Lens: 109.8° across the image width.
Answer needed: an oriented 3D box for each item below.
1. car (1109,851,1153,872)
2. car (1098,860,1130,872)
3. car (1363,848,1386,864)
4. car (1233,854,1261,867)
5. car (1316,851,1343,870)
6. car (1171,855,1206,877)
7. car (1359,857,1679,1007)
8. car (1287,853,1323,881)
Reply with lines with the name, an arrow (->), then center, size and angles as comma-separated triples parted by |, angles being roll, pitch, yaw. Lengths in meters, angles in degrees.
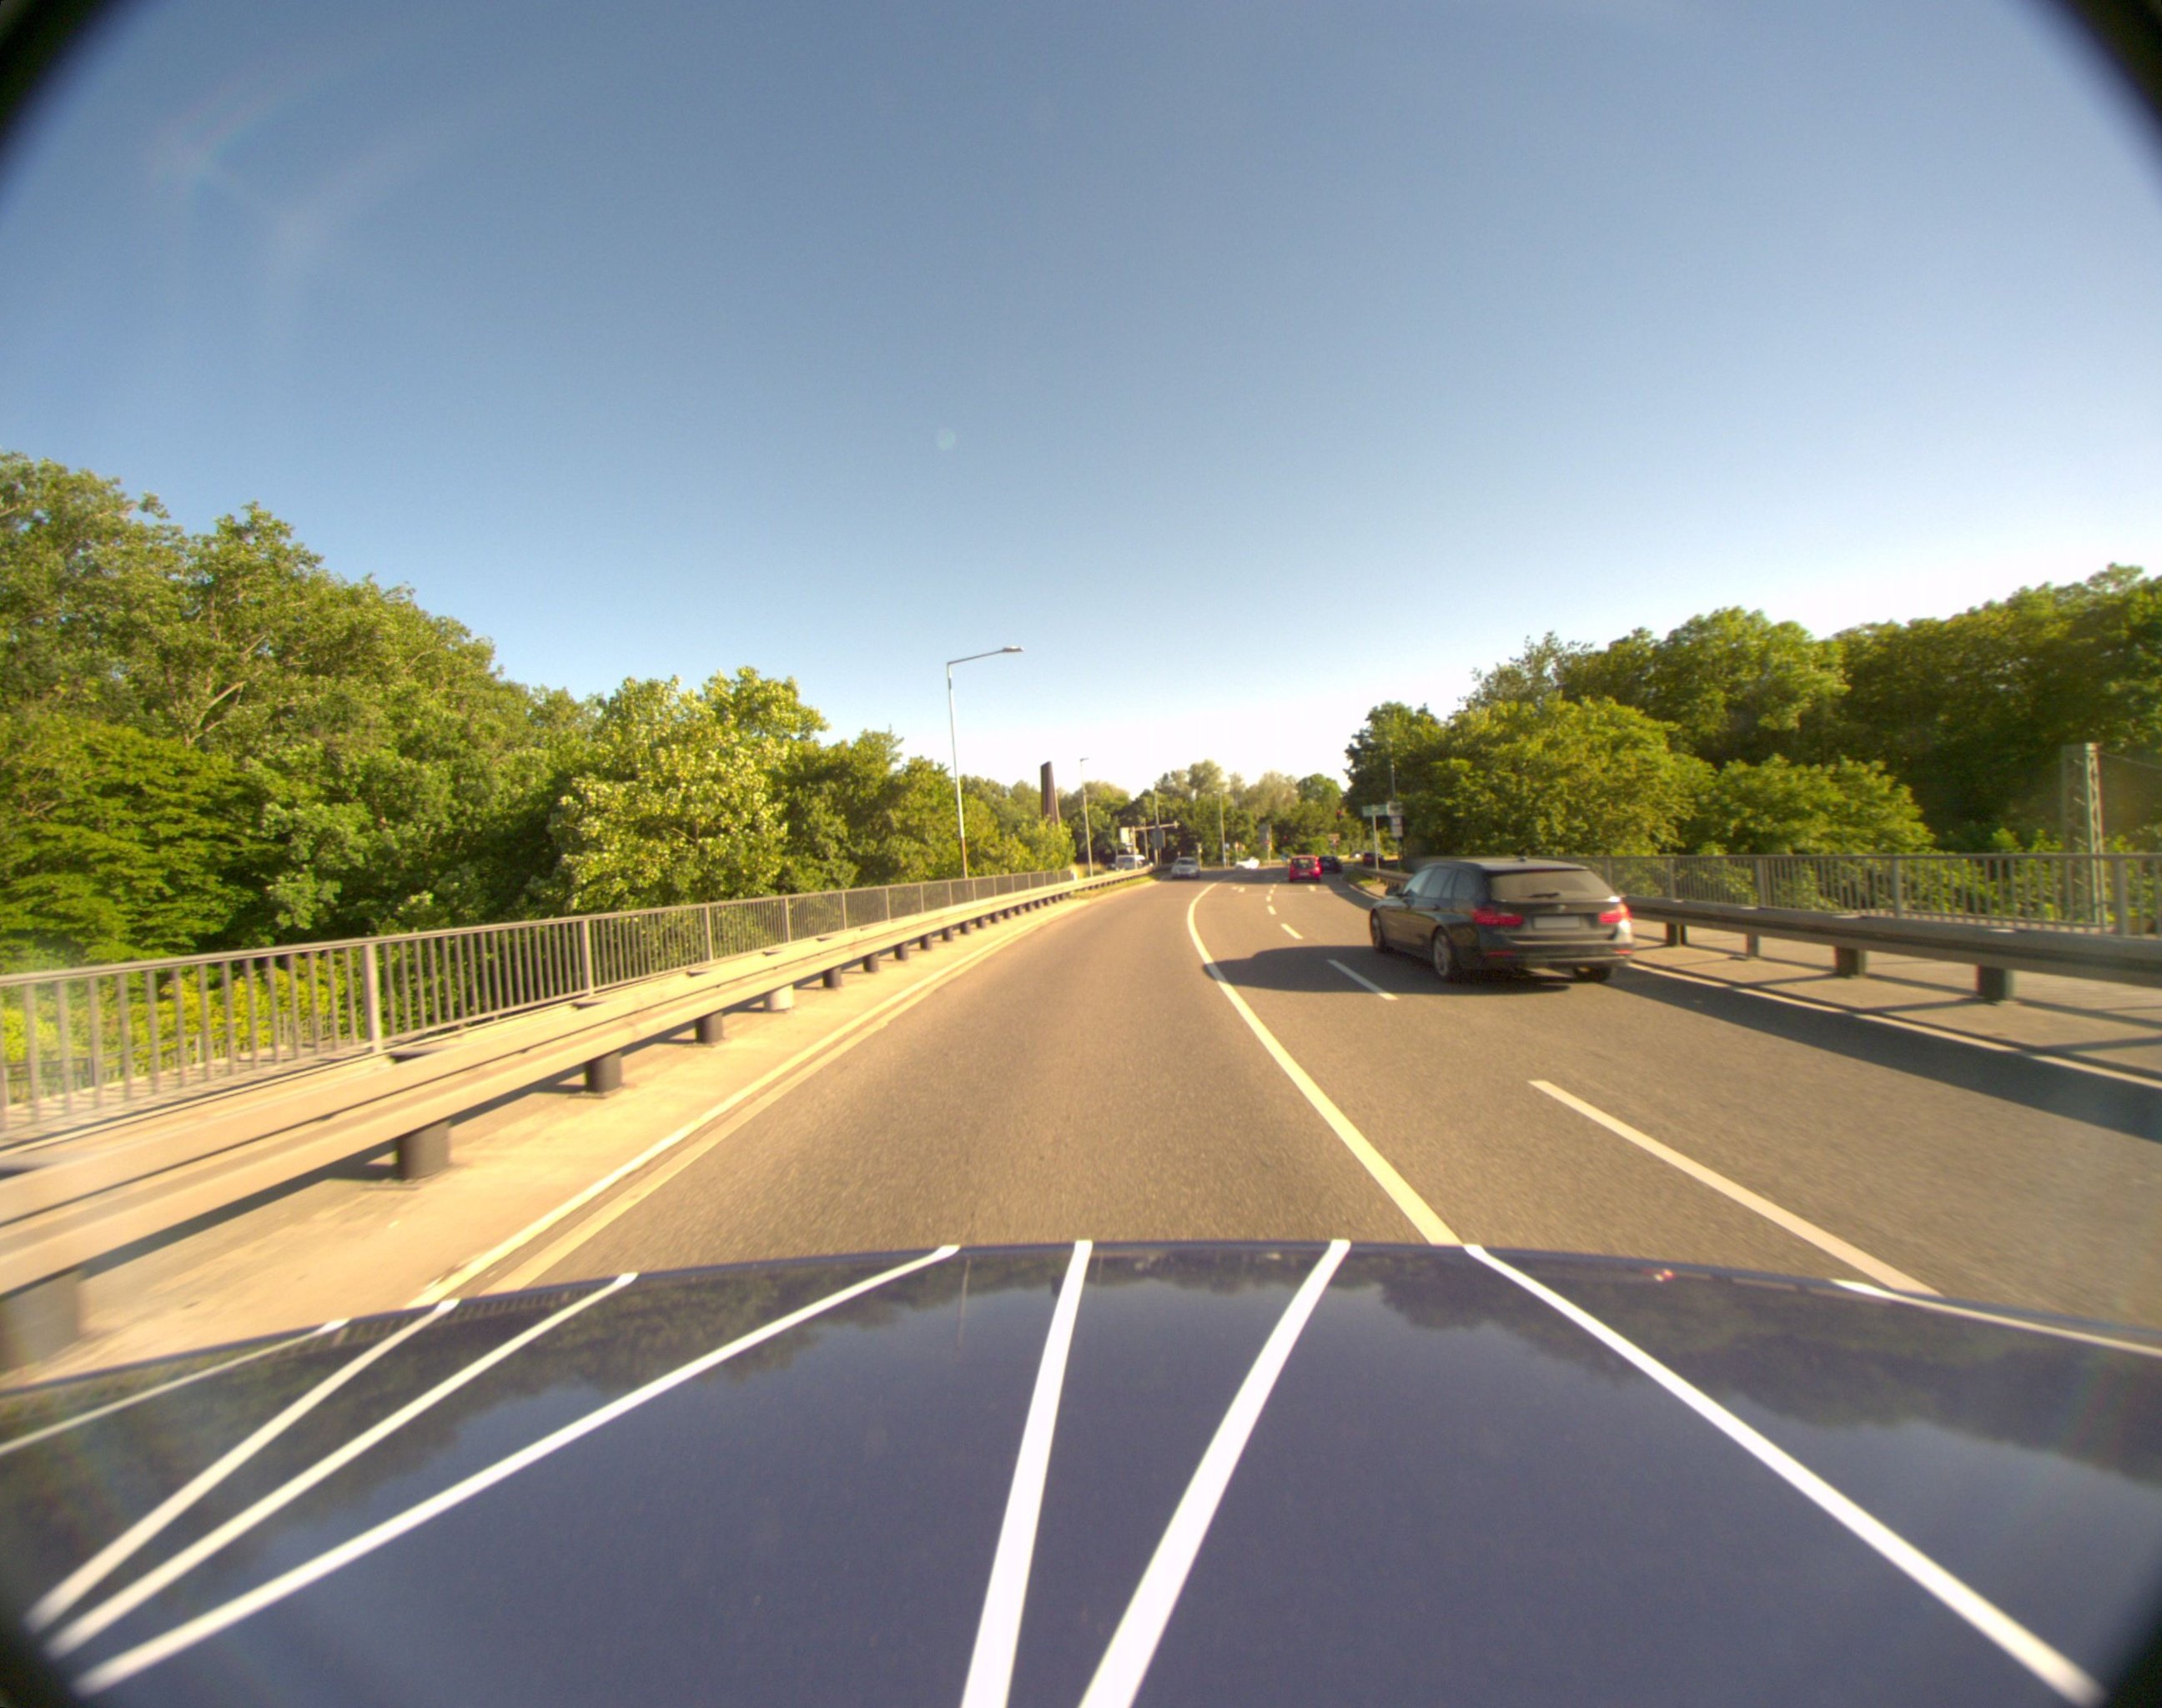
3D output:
car -> 6.701, 1.040, 102.295 | 2.119, 2.484, 5.692 | -2, -2, -45
car -> 4.252, 1.558, 99.609 | 1.848, 1.405, 3.977 | -2, 0, -44
car -> 31.226, 0.192, 80.773 | 1.805, 1.628, 4.007 | -2, 0, 29
car -> 20.470, 0.767, 93.431 | 1.989, 1.465, 4.138 | -2, 0, 33
car -> 20.174, 0.494, 61.599 | 1.726, 1.477, 4.414 | -1, 0, 23
car -> 7.515, 0.820, 52.972 | 1.762, 1.428, 4.335 | -2, 0, 16
car -> 5.139, 0.794, 9.729 | 1.877, 1.431, 4.323 | -2, 0, 5
car -> 12.277, 0.693, 41.649 | 1.784, 1.429, 3.880 | -2, 0, 16
